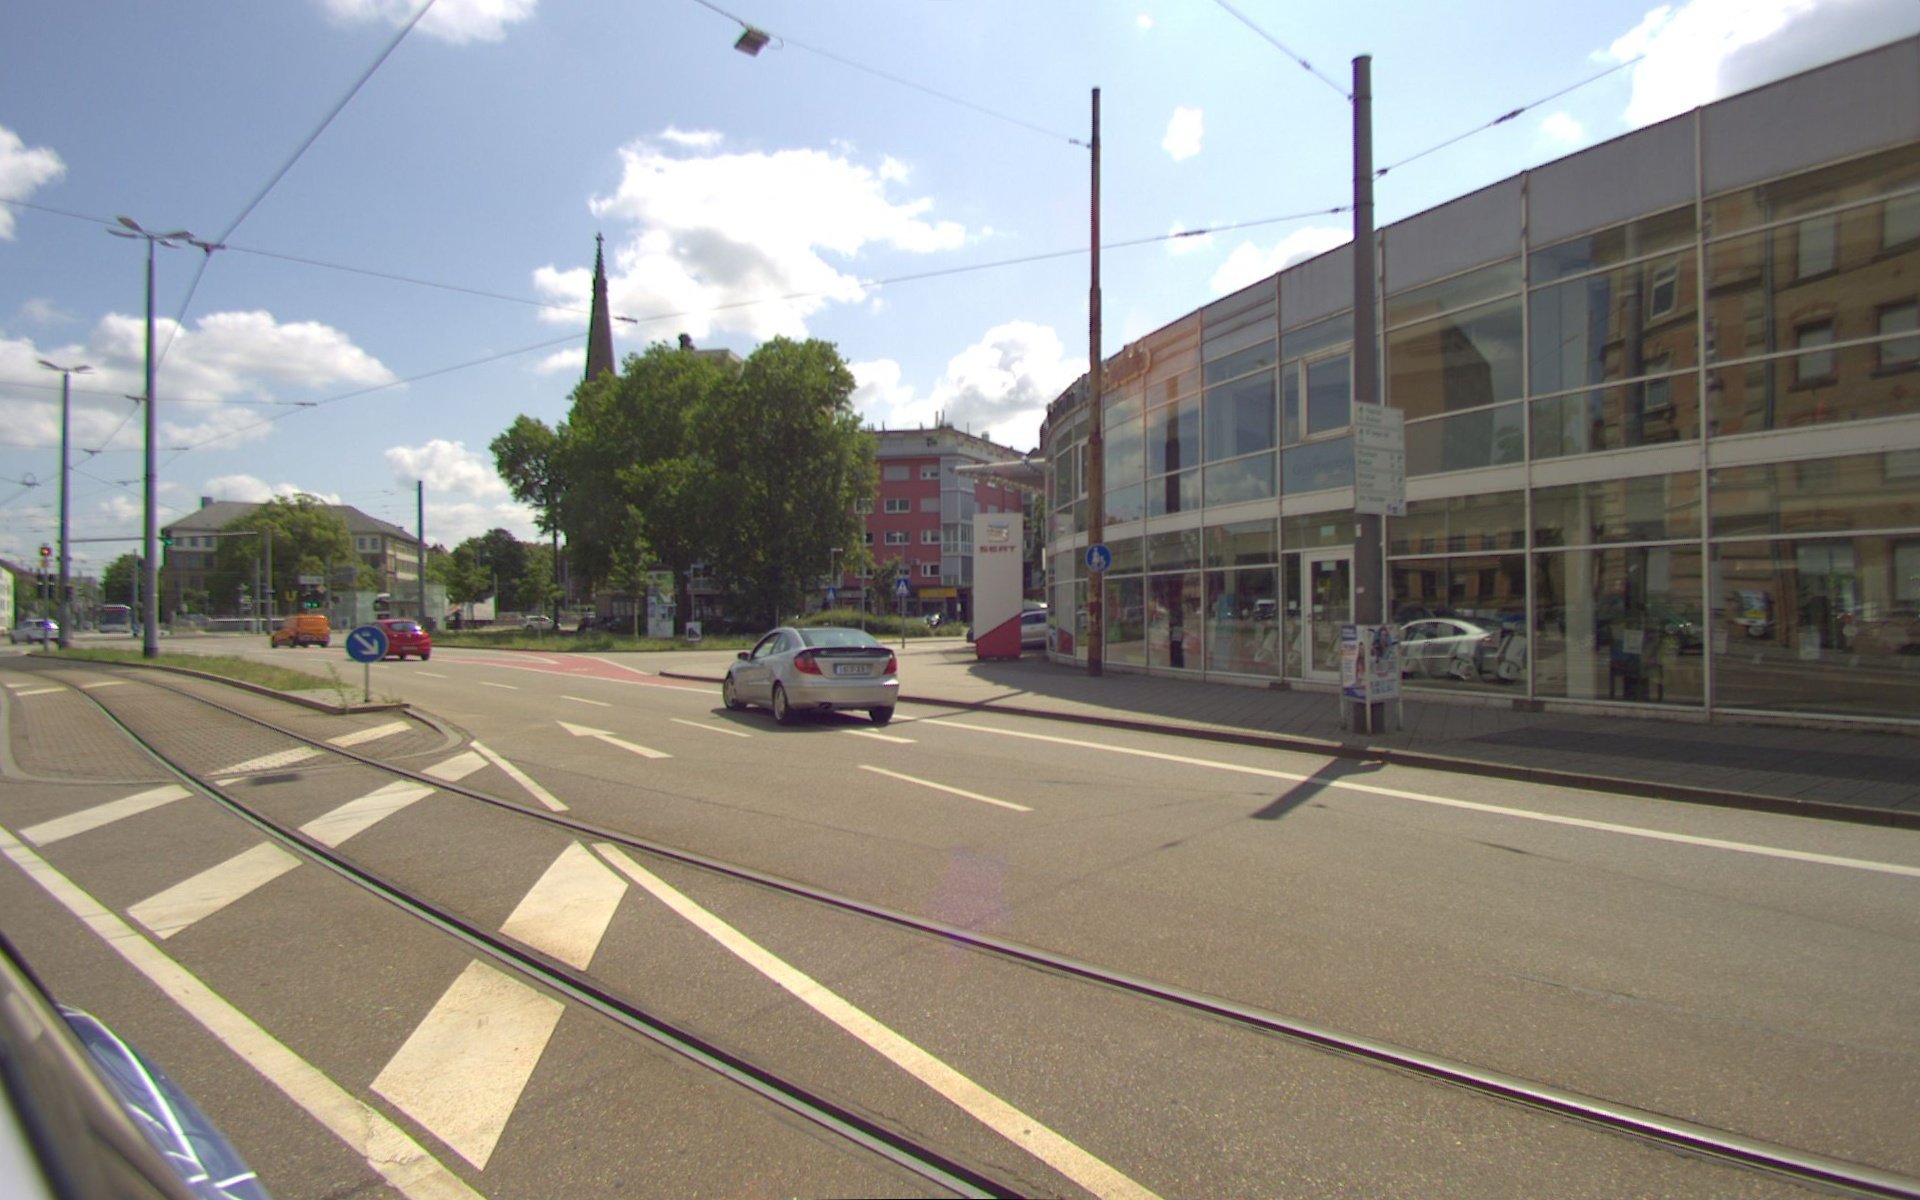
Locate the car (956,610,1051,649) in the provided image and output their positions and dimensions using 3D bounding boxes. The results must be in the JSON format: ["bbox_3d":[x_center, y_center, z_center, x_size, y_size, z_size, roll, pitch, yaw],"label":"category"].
[{"bbox_3d":[1.879,1.270,43.645,3.754,1.485,1.651,-3,-2,16],"label":"car"}]

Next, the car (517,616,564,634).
[{"bbox_3d":[-41.857,2.488,101.019,4.102,1.655,1.634,0,-1,-33],"label":"car"}]

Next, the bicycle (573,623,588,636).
[{"bbox_3d":[-35.195,2.765,93.854,1.257,1.154,0.458,-1,-1,5],"label":"bicycle"}]

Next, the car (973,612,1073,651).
[{"bbox_3d":[2.509,1.239,40.464,3.895,1.457,1.833,-1,-1,4],"label":"car"}]

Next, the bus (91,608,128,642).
[{"bbox_3d":[-90.882,2.626,108.177,2.905,3.474,7.961,0,-1,-39],"label":"bus"}]

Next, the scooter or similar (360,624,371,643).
[{"bbox_3d":[-39.093,2.213,66.525,0.549,1.209,0.457,-2,-1,38],"label":"scooter or similar"}]

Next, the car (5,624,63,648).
[{"bbox_3d":[-63.557,2.434,69.480,4.477,1.616,1.753,-1,-2,31],"label":"car"}]

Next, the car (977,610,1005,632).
[{"bbox_3d":[2.569,1.720,83.966,1.976,1.719,3.991,-1,-1,7],"label":"car"}]

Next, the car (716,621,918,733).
[{"bbox_3d":[-2.338,1.050,15.509,1.789,1.431,4.201,0,-1,-27],"label":"car"}]

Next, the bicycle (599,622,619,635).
[{"bbox_3d":[-29.939,2.435,86.328,1.584,1.074,0.492,-1,-1,9],"label":"bicycle"}]

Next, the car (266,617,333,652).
[{"bbox_3d":[-37.192,1.942,56.954,4.362,1.880,1.892,-1,-2,39],"label":"car"}]

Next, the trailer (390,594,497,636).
[{"bbox_3d":[-54.303,1.617,107.072,2.915,4.107,13.384,-1,-1,8],"label":"trailer"}]

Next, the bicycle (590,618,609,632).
[{"bbox_3d":[-33.289,2.298,93.440,1.584,1.274,0.492,-1,-1,9],"label":"bicycle"}]

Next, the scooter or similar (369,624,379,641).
[{"bbox_3d":[-38.844,2.174,67.109,0.556,1.133,0.411,-2,-1,38],"label":"scooter or similar"}]

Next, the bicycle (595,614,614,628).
[{"bbox_3d":[-31.513,1.867,89.754,1.584,1.176,0.492,-1,-1,9],"label":"bicycle"}]

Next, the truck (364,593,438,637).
[{"bbox_3d":[-55.273,1.484,100.285,2.930,4.150,6.860,-1,-1,9],"label":"truck"}]

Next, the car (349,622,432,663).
[{"bbox_3d":[-20.754,1.521,36.808,1.682,1.439,3.905,2,-3,-44],"label":"car"}]
